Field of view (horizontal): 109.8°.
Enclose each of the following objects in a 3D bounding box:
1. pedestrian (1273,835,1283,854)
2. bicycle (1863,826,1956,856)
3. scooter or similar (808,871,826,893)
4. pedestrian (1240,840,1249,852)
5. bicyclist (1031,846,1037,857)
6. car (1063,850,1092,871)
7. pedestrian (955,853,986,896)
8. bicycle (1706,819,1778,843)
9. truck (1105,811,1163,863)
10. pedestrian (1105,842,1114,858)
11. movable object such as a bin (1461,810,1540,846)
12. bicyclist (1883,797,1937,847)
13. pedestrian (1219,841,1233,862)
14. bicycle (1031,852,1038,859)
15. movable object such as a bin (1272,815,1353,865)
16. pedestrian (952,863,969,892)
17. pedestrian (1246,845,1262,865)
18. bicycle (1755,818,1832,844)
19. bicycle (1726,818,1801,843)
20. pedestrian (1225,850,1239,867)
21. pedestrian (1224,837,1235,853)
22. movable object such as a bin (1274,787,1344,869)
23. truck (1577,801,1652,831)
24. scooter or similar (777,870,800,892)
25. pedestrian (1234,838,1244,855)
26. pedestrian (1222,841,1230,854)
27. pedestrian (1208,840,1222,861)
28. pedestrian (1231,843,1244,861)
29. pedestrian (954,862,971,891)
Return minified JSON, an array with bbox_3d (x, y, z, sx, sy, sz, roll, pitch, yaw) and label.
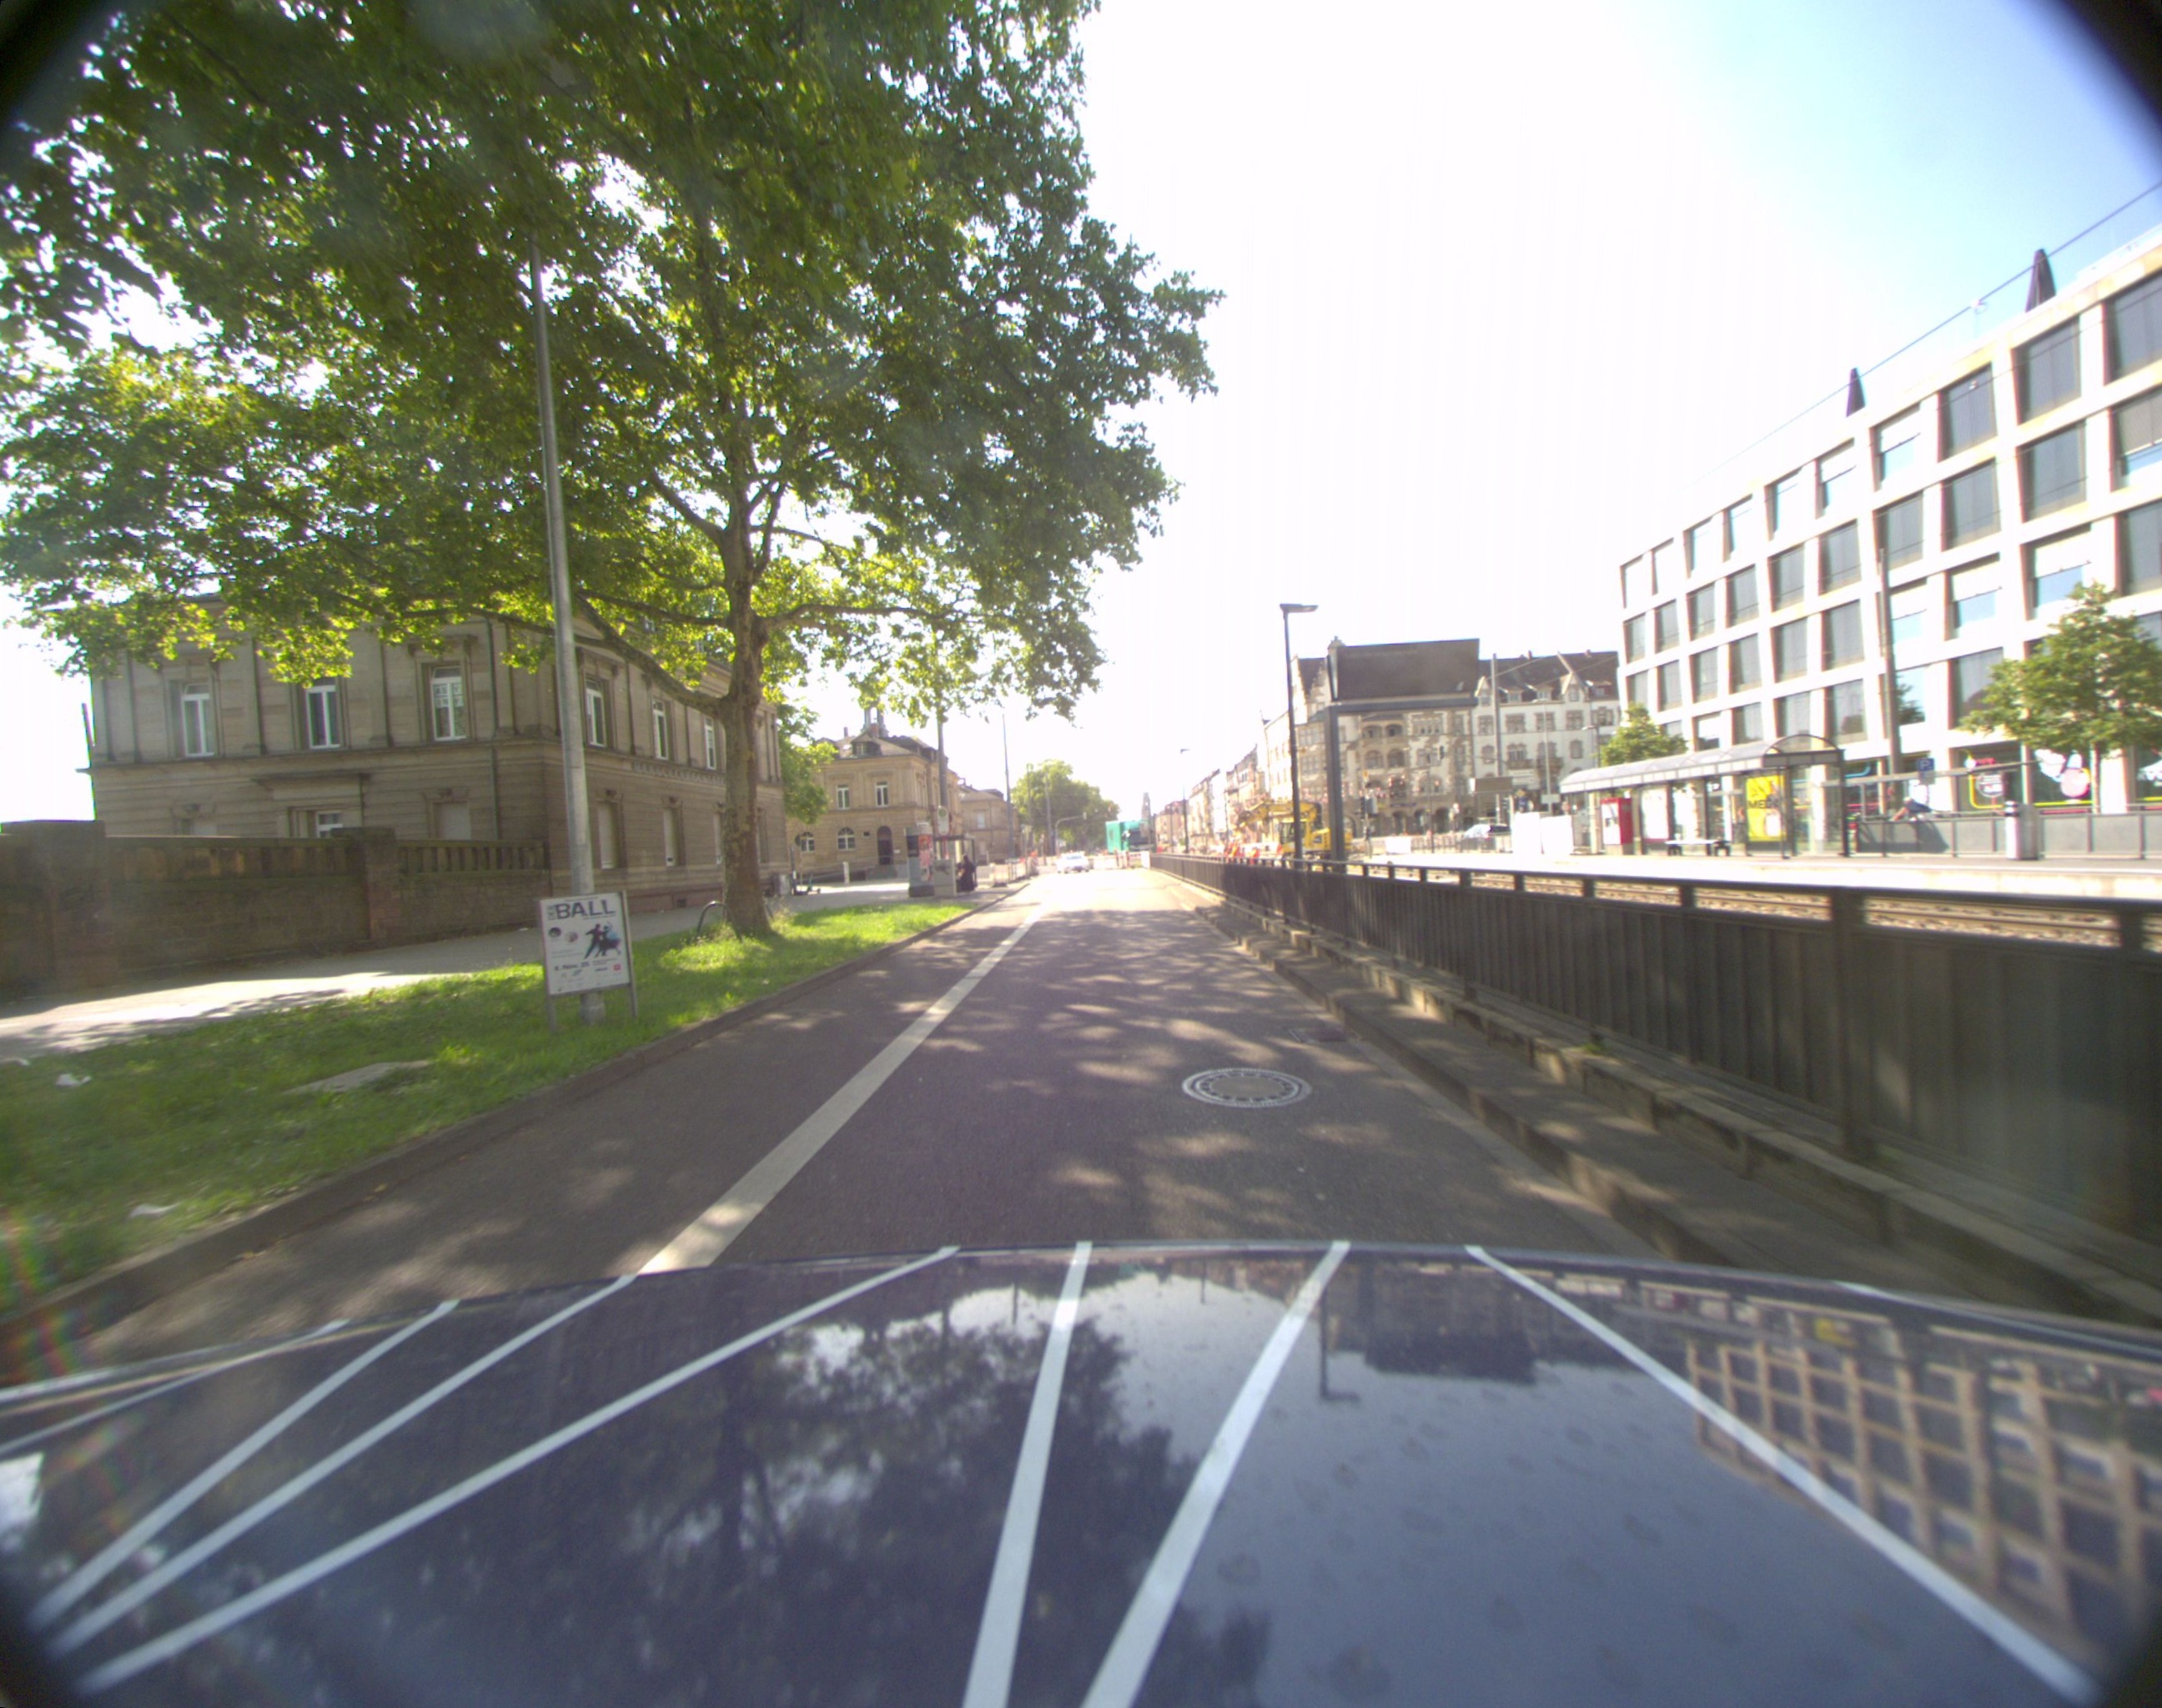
[{"bbox_3d":[18.495,-0.874,71.314,0.740,1.692,0.759,-3,1,21],"label":"pedestrian"},{"bbox_3d":[23.756,-0.387,21.842,0.630,0.817,1.897,0,2,2],"label":"bicycle"},{"bbox_3d":[-14.774,1.537,42.564,0.409,1.159,1.226,-3,1,7],"label":"scooter or similar"},{"bbox_3d":[16.737,-0.810,77.801,0.731,1.177,0.866,-1,2,-6],"label":"pedestrian"},{"bbox_3d":[-7.083,-0.421,115.363,0.736,1.616,0.853,-3,1,3],"label":"bicyclist"},{"bbox_3d":[-0.207,0.451,56.156,1.843,1.451,4.000,-2,1,3],"label":"car"},{"bbox_3d":[-4.378,0.799,30.074,0.885,1.616,0.821,-4,1,-34],"label":"pedestrian"},{"bbox_3d":[31.098,-1.091,35.777,2.436,0.962,1.020,-3,0,0],"label":"bicycle"},{"bbox_3d":[4.100,-1.280,61.411,2.817,3.766,9.009,-3,0,-8],"label":"truck"},{"bbox_3d":[3.373,-0.465,90.191,0.921,1.830,0.801,-3,1,-4],"label":"pedestrian"},{"bbox_3d":[37.387,-2.304,67.855,5.515,2.774,2.490,-4,2,3],"label":"movable object such as a bin"},{"bbox_3d":[23.751,-0.914,21.785,0.630,1.394,0.784,0,2,1],"label":"bicyclist"},{"bbox_3d":[9.848,-0.174,51.634,0.701,1.327,0.838,-3,1,23],"label":"pedestrian"},{"bbox_3d":[-7.053,0.163,115.404,0.743,1.026,2.132,-3,0,3],"label":"bicycle"},{"bbox_3d":[16.380,-0.965,54.066,4.126,3.204,3.564,-3,0,-13],"label":"movable object such as a bin"},{"bbox_3d":[-5.293,1.025,33.333,0.610,1.211,0.574,-2,1,0],"label":"pedestrian"},{"bbox_3d":[10.623,0.048,46.583,0.701,1.148,0.589,-3,1,42],"label":"pedestrian"},{"bbox_3d":[31.011,-1.007,33.105,2.436,0.962,0.945,-3,0,0],"label":"bicycle"},{"bbox_3d":[31.002,-1.052,34.543,2.436,0.962,1.020,-3,0,0],"label":"bicycle"},{"bbox_3d":[9.092,0.258,45.766,0.702,0.949,0.882,-3,0,3],"label":"pedestrian"},{"bbox_3d":[15.136,-0.884,77.606,0.754,1.547,0.735,-4,1,-40],"label":"pedestrian"},{"bbox_3d":[13.634,-1.510,45.777,2.993,4.528,4.213,-3,0,4],"label":"movable object such as a bin"},{"bbox_3d":[57.162,-4.030,81.487,6.036,2.799,2.691,-3,1,0],"label":"truck"},{"bbox_3d":[-16.280,1.485,42.234,1.094,1.126,0.312,-3,1,-1],"label":"scooter or similar"},{"bbox_3d":[16.002,-0.774,76.982,0.752,1.692,0.678,-3,1,1],"label":"pedestrian"},{"bbox_3d":[14.362,-0.603,75.141,0.678,1.239,0.547,-3,1,0],"label":"pedestrian"},{"bbox_3d":[9.426,-0.240,53.328,0.741,1.470,0.704,-3,1,24],"label":"pedestrian"},{"bbox_3d":[10.844,-0.152,52.532,0.701,1.171,0.703,-3,1,23],"label":"pedestrian"},{"bbox_3d":[-5.325,0.988,34.137,0.610,1.270,0.759,-2,1,0],"label":"pedestrian"}]
